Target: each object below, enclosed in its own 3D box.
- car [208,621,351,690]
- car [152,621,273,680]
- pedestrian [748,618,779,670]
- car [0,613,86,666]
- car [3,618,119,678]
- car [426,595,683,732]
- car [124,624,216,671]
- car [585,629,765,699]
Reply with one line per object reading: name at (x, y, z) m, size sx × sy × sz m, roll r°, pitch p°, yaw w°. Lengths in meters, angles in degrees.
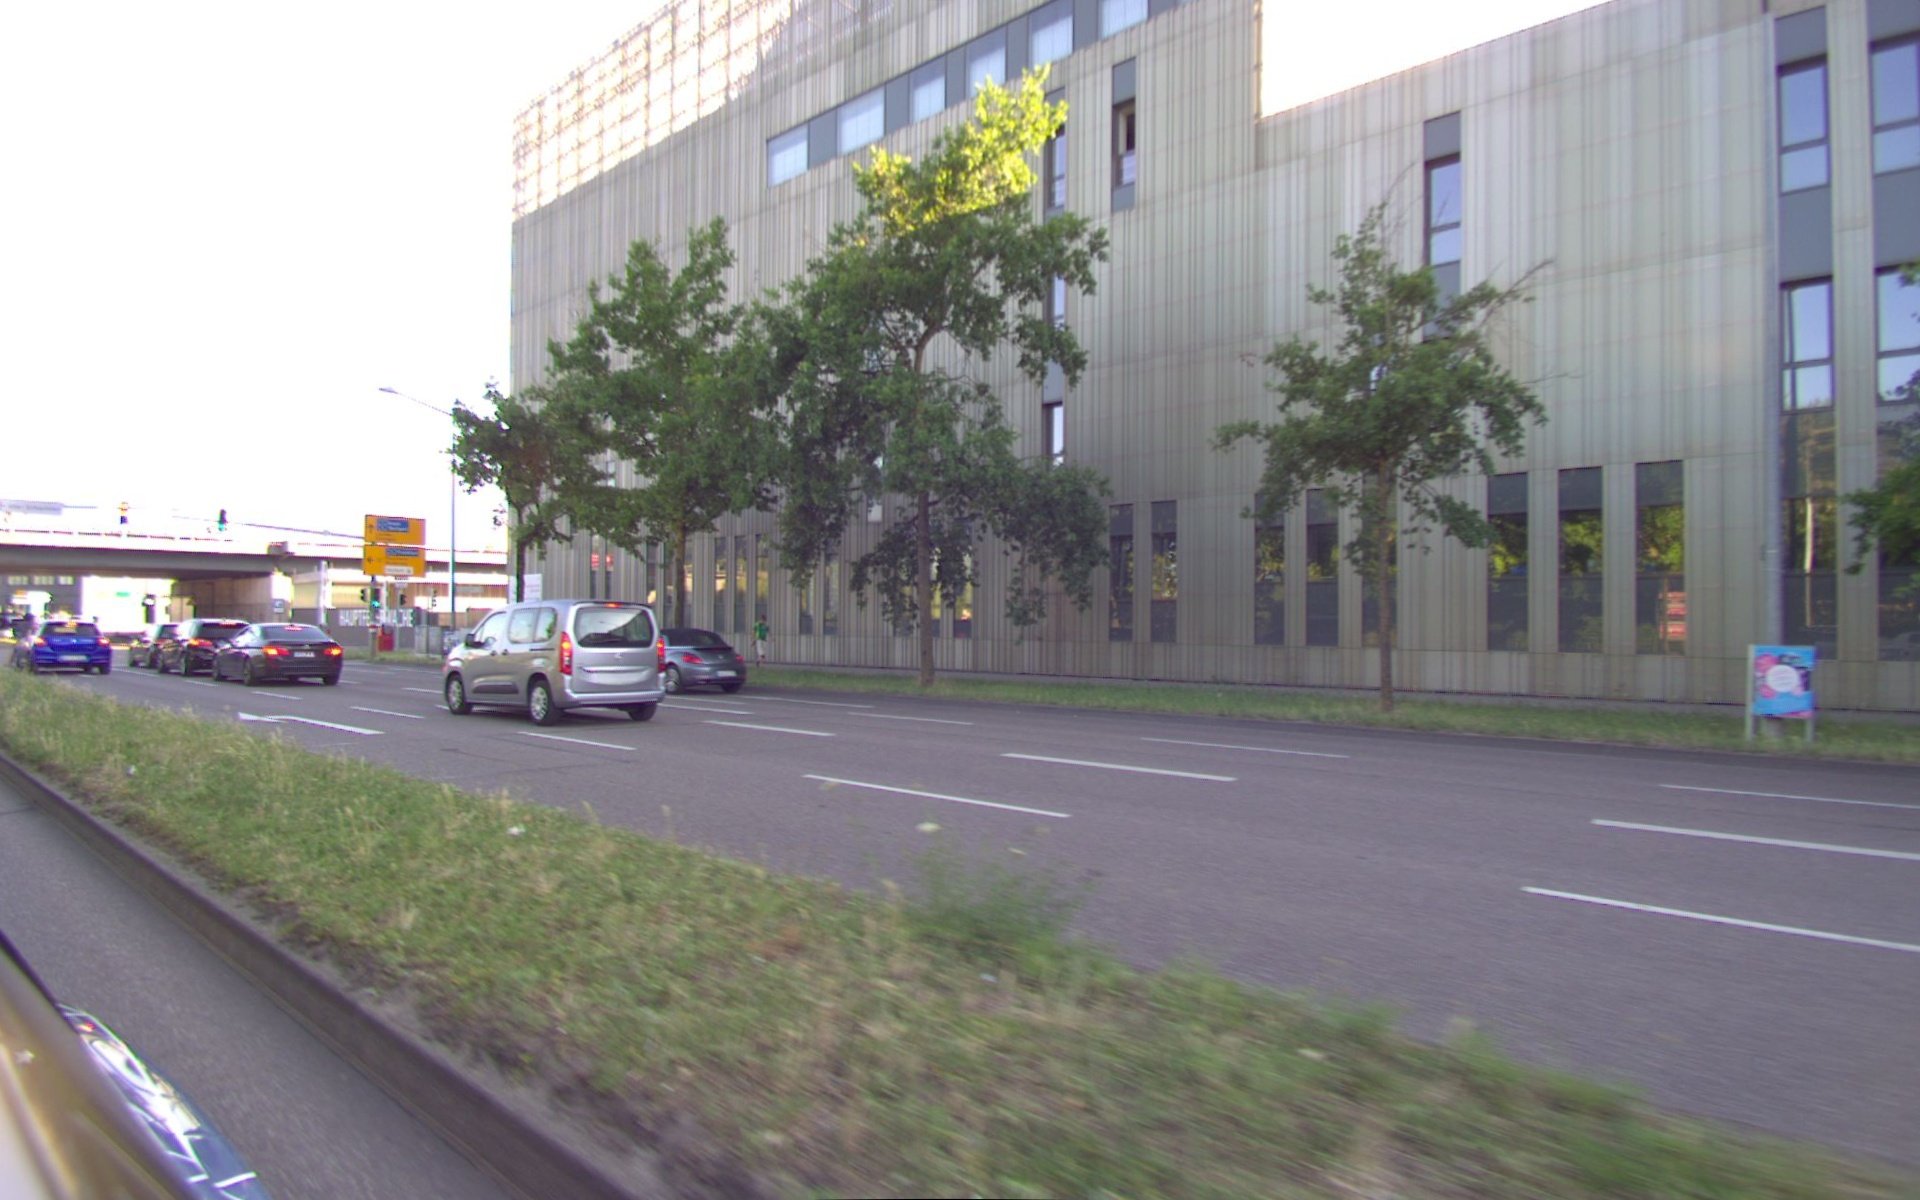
car at (-16.556, 1.296, 24.536) m, size 4.289 × 1.530 × 1.904 m, roll -1°, pitch -3°, yaw 42°
car at (-21.049, 1.379, 28.440) m, size 3.998 × 1.530 × 1.905 m, roll -1°, pitch -3°, yaw 41°
pedestrian at (-6.360, 1.419, 32.701) m, size 0.725 × 1.641 × 0.689 m, roll -1°, pitch -2°, yaw 41°
car at (-30.093, 1.277, 33.009) m, size 3.999 × 1.617 × 1.904 m, roll -1°, pitch -3°, yaw 42°
car at (-24.801, 1.292, 27.887) m, size 3.949 × 1.530 × 1.817 m, roll -1°, pitch -3°, yaw 40°
car at (-6.395, 0.913, 15.729) m, size 4.400 × 1.830 × 1.972 m, roll -1°, pitch -3°, yaw 42°
car at (-25.794, 1.515, 32.997) m, size 3.770 × 1.444 × 1.673 m, roll -1°, pitch -3°, yaw 41°
car at (-6.758, 1.438, 23.798) m, size 4.398 × 1.468 × 1.973 m, roll -1°, pitch -3°, yaw 41°
